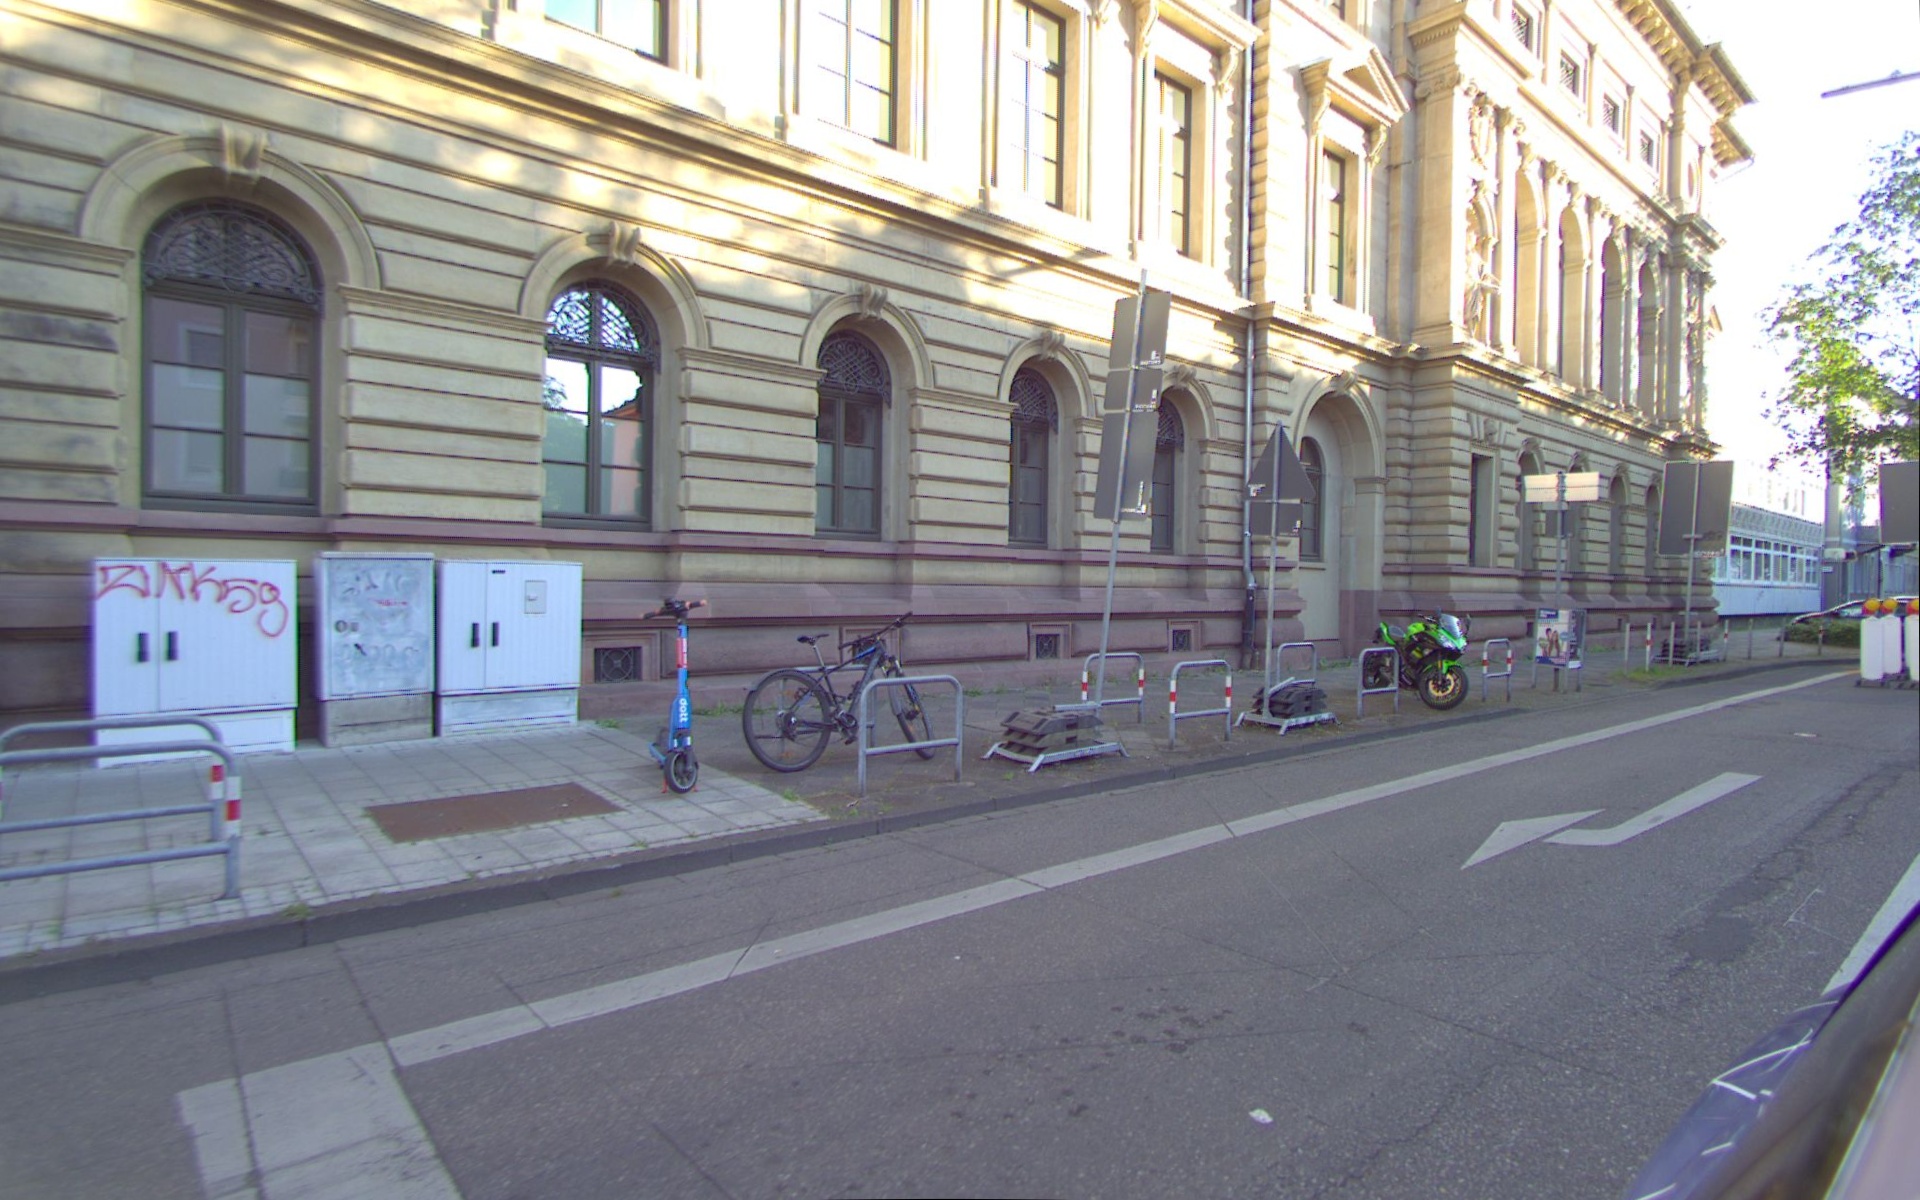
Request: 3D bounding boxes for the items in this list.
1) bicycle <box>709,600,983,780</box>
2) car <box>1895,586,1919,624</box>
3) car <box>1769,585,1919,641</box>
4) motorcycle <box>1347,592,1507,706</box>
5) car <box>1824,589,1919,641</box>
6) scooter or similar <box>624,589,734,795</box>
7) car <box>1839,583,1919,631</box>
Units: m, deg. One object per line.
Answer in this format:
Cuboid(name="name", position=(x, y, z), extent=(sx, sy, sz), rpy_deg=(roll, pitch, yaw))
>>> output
Cuboid(name="bicycle", position=(-0.830, 0.607, 7.721), extent=(1.910, 1.148, 0.829), rpy_deg=(0, 4, -41))
Cuboid(name="car", position=(44.066, 0.305, 44.369), extent=(1.704, 1.644, 4.364), rpy_deg=(0, 3, -42))
Cuboid(name="car", position=(28.642, 0.381, 32.153), extent=(1.804, 1.482, 4.362), rpy_deg=(-1, 4, -44))
Cuboid(name="motorcycle", position=(5.890, 0.577, 12.926), extent=(0.695, 1.229, 2.109), rpy_deg=(1, 3, -11))
Cuboid(name="car", position=(31.264, 0.534, 33.047), extent=(1.643, 1.513, 4.367), rpy_deg=(0, 4, -40))
Cuboid(name="scooter or similar", position=(-1.923, 0.563, 6.835), extent=(0.571, 1.210, 1.137), rpy_deg=(1, 3, -22))
Cuboid(name="car", position=(35.734, 0.306, 37.602), extent=(2.020, 1.662, 4.364), rpy_deg=(0, 4, -43))
